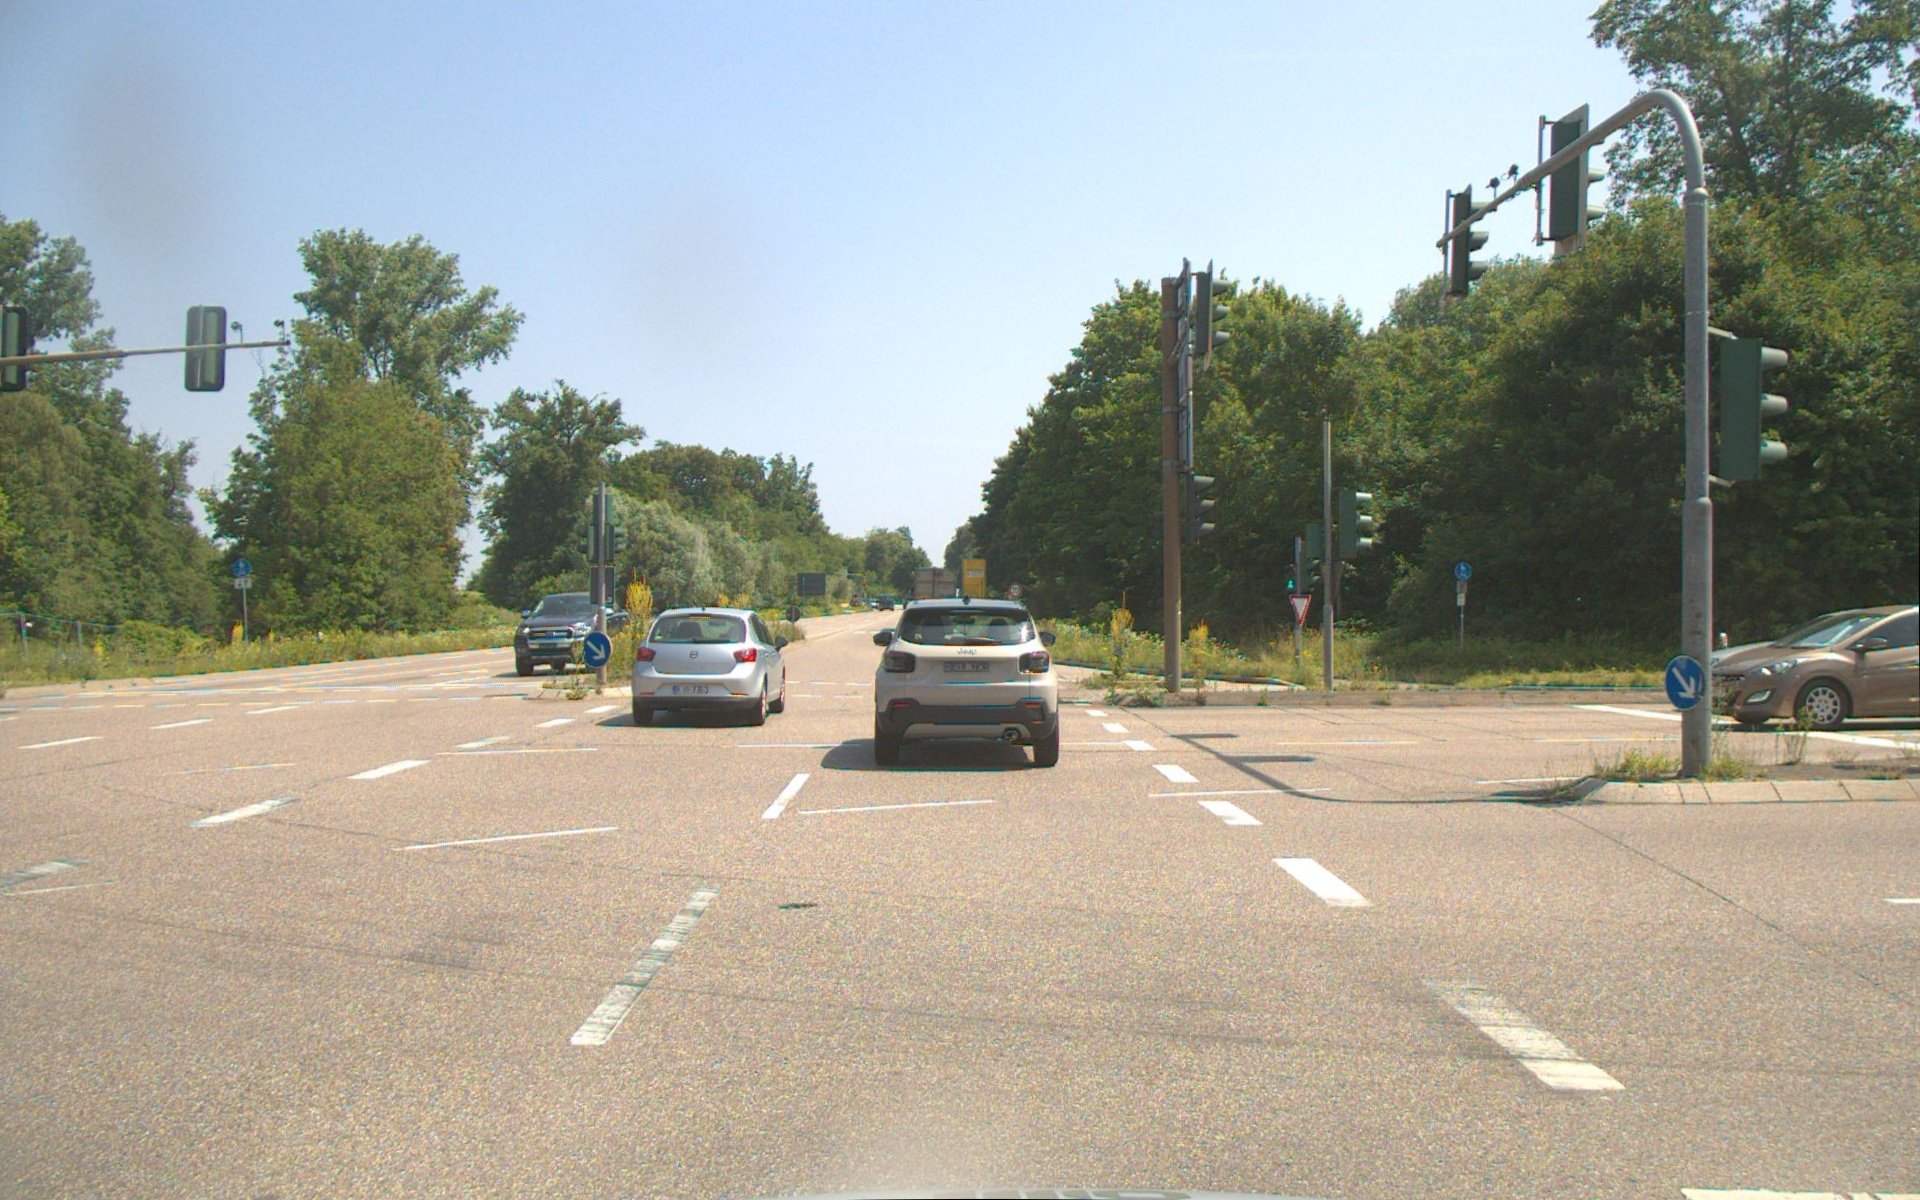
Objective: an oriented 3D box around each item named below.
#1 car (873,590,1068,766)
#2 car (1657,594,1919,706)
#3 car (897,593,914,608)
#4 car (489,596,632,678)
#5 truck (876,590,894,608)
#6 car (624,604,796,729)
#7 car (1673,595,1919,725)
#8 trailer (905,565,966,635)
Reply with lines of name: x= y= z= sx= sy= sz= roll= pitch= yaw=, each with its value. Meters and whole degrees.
car: x=0.101 y=0.704 z=16.788 sx=1.731 sy=1.562 sz=4.000 roll=0 pitch=0 yaw=0
car: x=12.920 y=0.699 z=23.913 sx=4.831 sy=1.525 sz=2.020 roll=0 pitch=-1 yaw=0
car: x=-7.443 y=0.069 z=224.720 sx=1.952 sy=2.049 sz=4.555 roll=-1 pitch=0 yaw=2
car: x=-9.100 y=0.808 z=38.161 sx=1.953 sy=1.707 sz=5.365 roll=-2 pitch=0 yaw=0
truck: x=-11.445 y=-0.168 z=253.287 sx=2.404 sy=2.703 sz=6.490 roll=-3 pitch=0 yaw=0
car: x=-3.162 y=0.802 z=21.601 sx=1.631 sy=1.455 sz=3.828 roll=1 pitch=0 yaw=0
car: x=11.199 y=0.689 z=20.303 sx=4.010 sy=1.472 sz=1.994 roll=-1 pitch=0 yaw=-3
trailer: x=-1.424 y=0.063 z=101.921 sx=3.313 sy=4.058 sz=10.804 roll=1 pitch=-1 yaw=1
